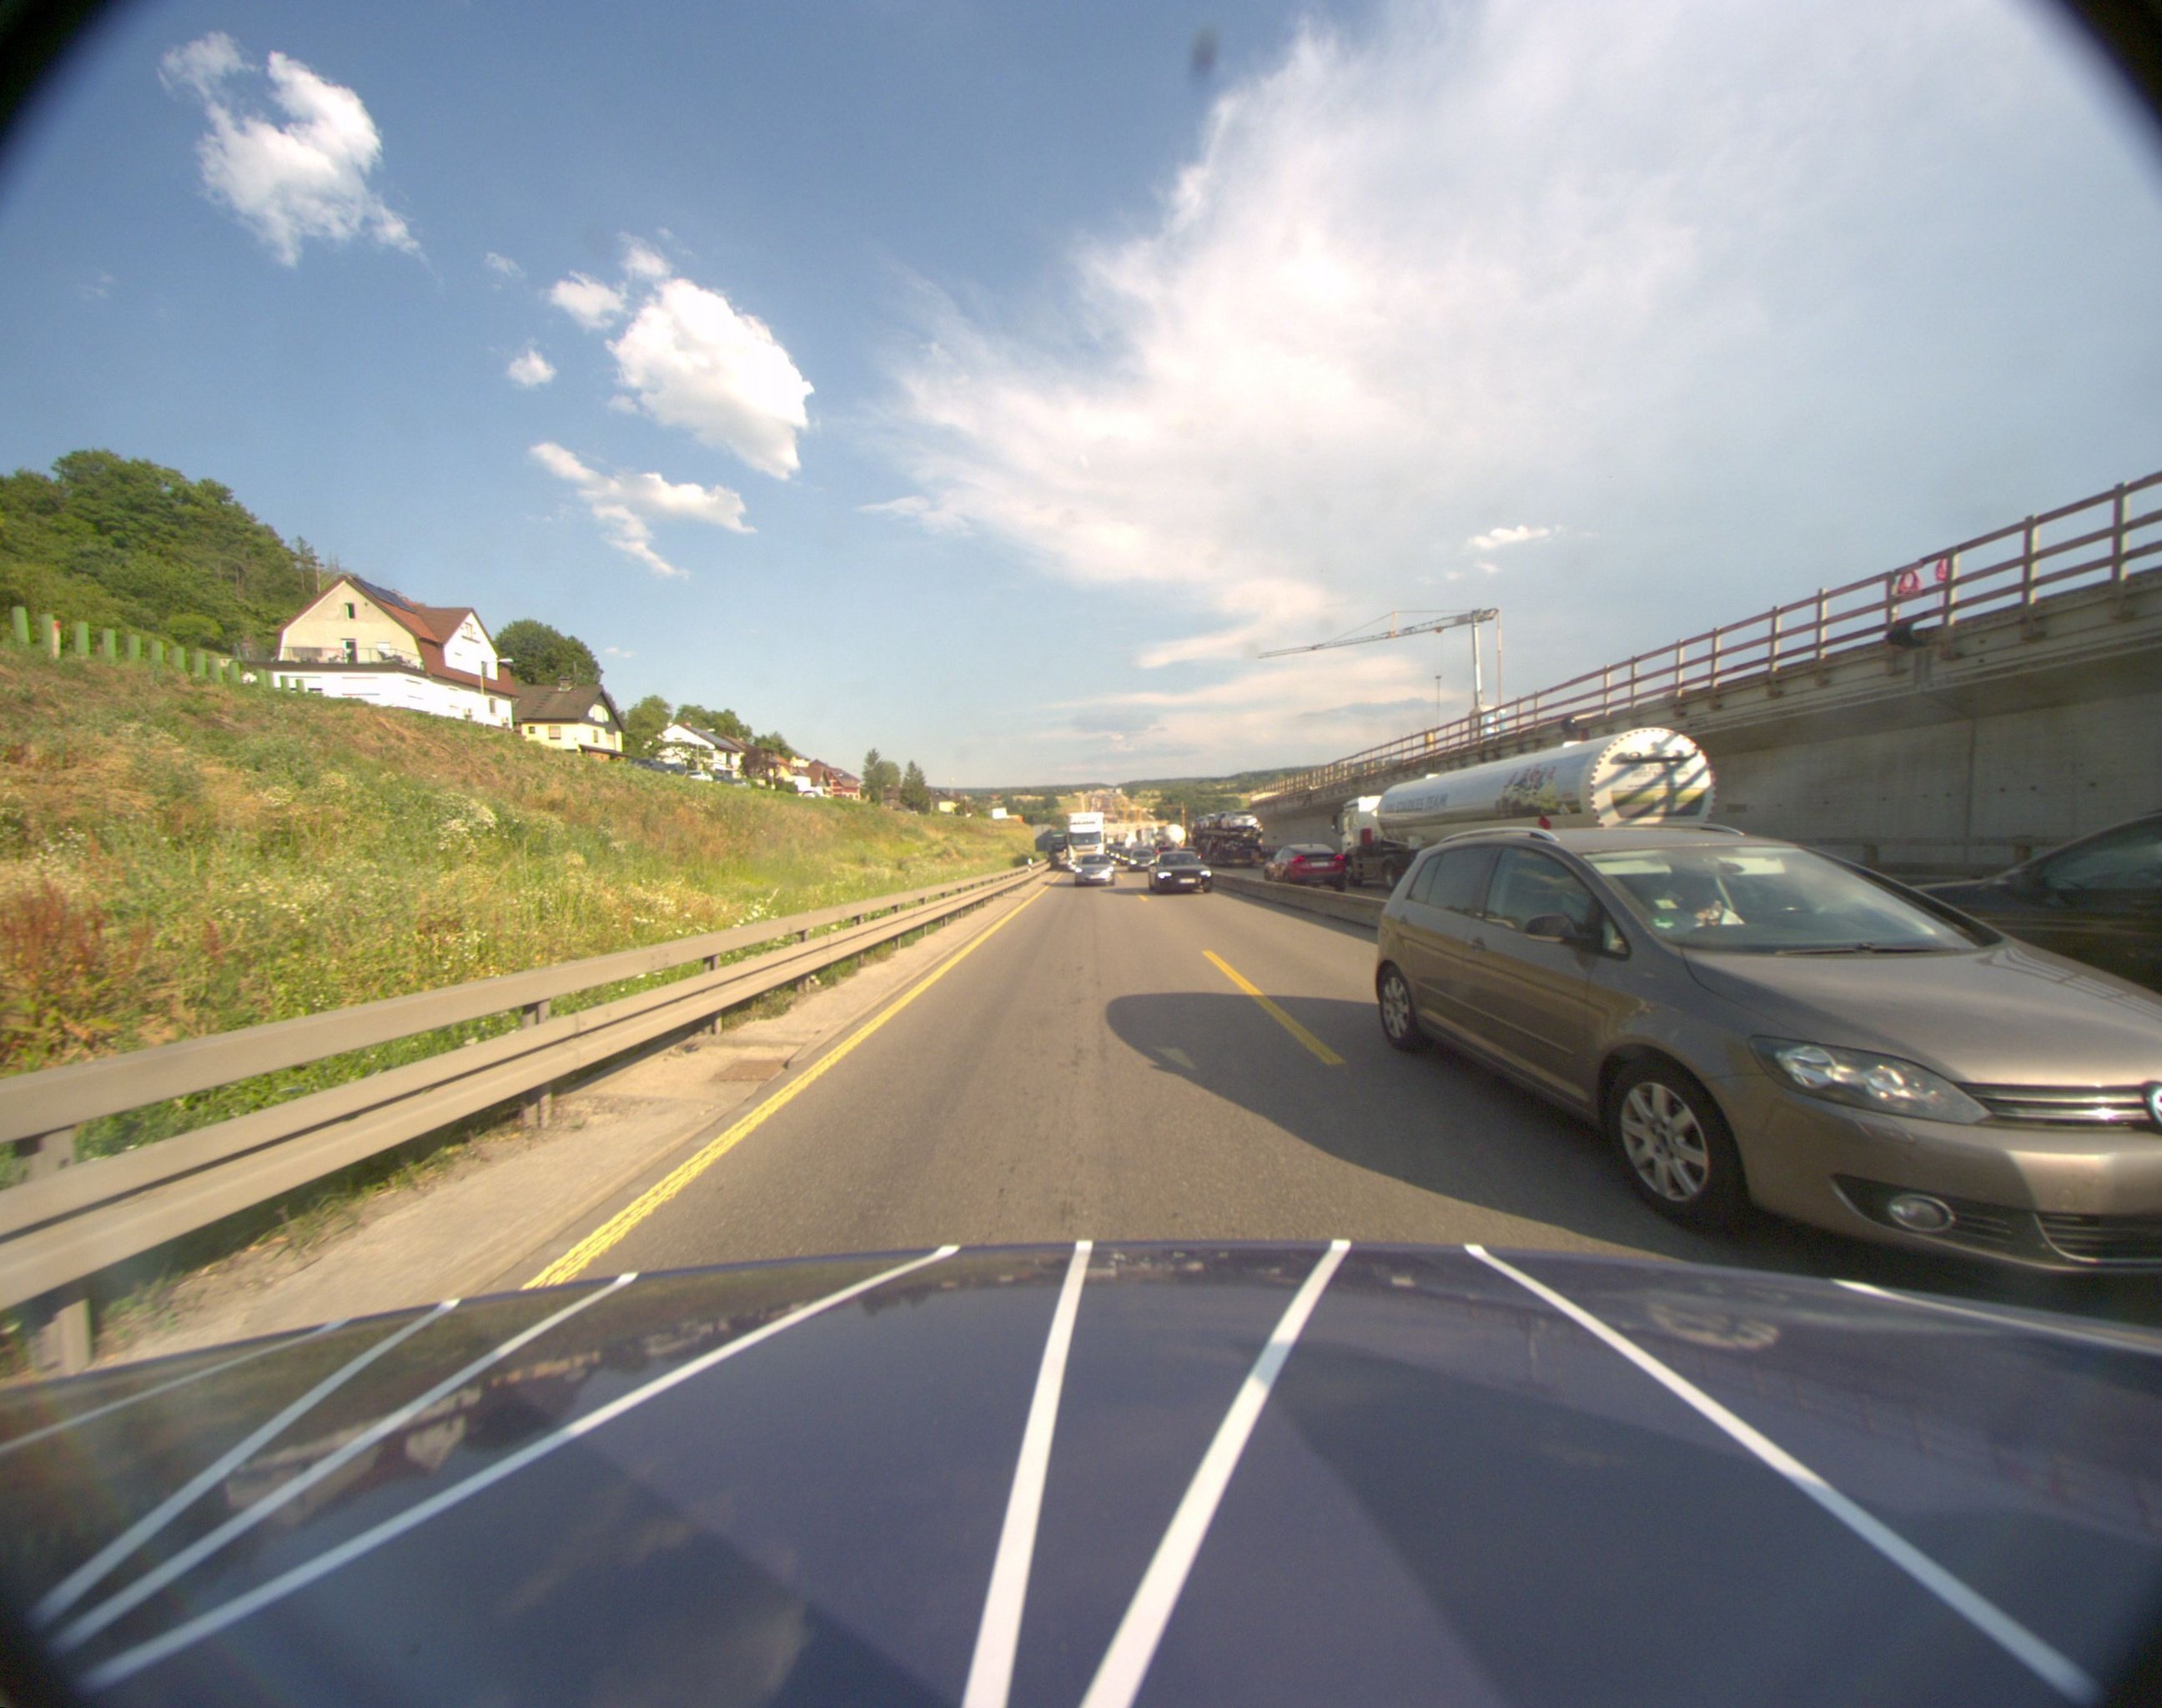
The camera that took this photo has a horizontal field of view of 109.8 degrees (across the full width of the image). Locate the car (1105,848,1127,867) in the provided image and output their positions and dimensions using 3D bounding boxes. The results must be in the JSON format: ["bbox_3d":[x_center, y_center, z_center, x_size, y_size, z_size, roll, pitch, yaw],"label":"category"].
[{"bbox_3d":[3.249,0.340,71.183,1.918,1.746,3.999,-1,0,0],"label":"car"}]

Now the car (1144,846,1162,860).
[{"bbox_3d":[8.232,-0.104,87.245,1.713,1.437,4.599,-2,1,1],"label":"car"}]

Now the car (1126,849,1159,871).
[{"bbox_3d":[3.950,0.354,49.325,1.692,1.294,3.882,-2,1,-1],"label":"car"}]

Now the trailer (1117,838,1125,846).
[{"bbox_3d":[9.059,-2.718,172.076,1.452,1.843,2.983,-2,1,1],"label":"trailer"}]

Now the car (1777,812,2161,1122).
[{"bbox_3d":[6.573,0.586,3.936,1.645,1.635,4.688,-2,1,0],"label":"car"}]

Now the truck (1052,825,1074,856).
[{"bbox_3d":[-2.475,-1.902,105.824,2.547,3.993,6.070,-2,1,1],"label":"truck"}]

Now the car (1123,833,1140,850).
[{"bbox_3d":[8.263,-2.042,124.090,1.999,2.608,7.407,-2,1,-2],"label":"car"}]

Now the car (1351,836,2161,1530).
[{"bbox_3d":[2.976,0.728,3.894,1.685,1.579,4.270,-1,2,0],"label":"car"}]

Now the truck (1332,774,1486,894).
[{"bbox_3d":[10.395,-0.632,24.705,2.555,3.390,5.530,-2,1,0],"label":"truck"}]

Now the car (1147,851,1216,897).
[{"bbox_3d":[3.465,0.636,26.904,1.873,1.411,4.348,-1,1,1],"label":"car"}]

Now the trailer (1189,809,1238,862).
[{"bbox_3d":[10.781,-1.545,62.507,2.778,4.008,7.206,-2,1,1],"label":"trailer"}]

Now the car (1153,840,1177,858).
[{"bbox_3d":[7.732,-0.465,70.612,1.761,1.569,4.338,-2,1,1],"label":"car"}]

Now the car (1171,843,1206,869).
[{"bbox_3d":[7.217,0.113,51.358,1.770,1.543,4.835,-2,1,1],"label":"car"}]

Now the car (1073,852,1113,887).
[{"bbox_3d":[0.536,0.658,34.380,1.671,1.425,3.523,-1,1,1],"label":"car"}]

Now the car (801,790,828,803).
[{"bbox_3d":[-34.115,-7.328,97.466,1.998,1.434,3.999,-2,1,1],"label":"car"}]

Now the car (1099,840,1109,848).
[{"bbox_3d":[4.926,-2.153,164.815,1.998,1.696,3.999,-2,1,0],"label":"car"}]

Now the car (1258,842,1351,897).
[{"bbox_3d":[7.132,0.453,24.690,1.730,1.548,4.297,-2,0,0],"label":"car"}]

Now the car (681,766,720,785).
[{"bbox_3d":[-31.900,-6.580,63.739,1.347,1.225,3.899,-2,1,-2],"label":"car"}]

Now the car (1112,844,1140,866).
[{"bbox_3d":[3.665,0.062,62.403,1.998,1.740,3.999,-1,1,0],"label":"car"}]

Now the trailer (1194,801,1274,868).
[{"bbox_3d":[10.656,-1.381,55.044,2.778,4.008,15.760,-2,1,1],"label":"trailer"}]

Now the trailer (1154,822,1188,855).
[{"bbox_3d":[11.318,-1.988,96.740,2.659,3.828,13.439,-2,1,0],"label":"trailer"}]

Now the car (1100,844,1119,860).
[{"bbox_3d":[3.135,-0.216,84.903,1.918,1.746,3.999,-1,0,0],"label":"car"}]

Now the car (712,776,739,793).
[{"bbox_3d":[-32.332,-6.301,69.132,1.348,1.315,3.340,-3,1,-11],"label":"car"}]

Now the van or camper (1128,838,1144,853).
[{"bbox_3d":[7.848,-1.275,109.200,1.863,2.002,5.294,-2,1,0],"label":"van or camper"}]

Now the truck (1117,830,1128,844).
[{"bbox_3d":[12.224,-5.030,224.113,2.873,4.038,7.597,-2,1,1],"label":"truck"}]

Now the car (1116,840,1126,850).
[{"bbox_3d":[7.984,-1.814,152.740,1.785,1.833,4.852,-2,1,1],"label":"car"}]

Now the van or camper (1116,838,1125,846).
[{"bbox_3d":[9.187,-2.807,176.094,1.868,1.882,5.002,-2,1,1],"label":"van or camper"}]

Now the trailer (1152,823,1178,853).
[{"bbox_3d":[11.367,-2.124,103.005,2.659,3.828,6.427,-2,1,0],"label":"trailer"}]

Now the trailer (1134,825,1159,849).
[{"bbox_3d":[11.467,-3.052,134.989,2.933,4.014,13.769,-2,1,-1],"label":"trailer"}]

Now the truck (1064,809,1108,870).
[{"bbox_3d":[0.459,-1.100,57.304,2.741,4.034,12.668,-2,1,1],"label":"truck"}]

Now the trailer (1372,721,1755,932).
[{"bbox_3d":[10.291,-0.581,18.312,2.563,3.506,10.679,-2,1,1],"label":"trailer"}]

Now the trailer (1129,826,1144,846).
[{"bbox_3d":[12.485,-4.009,172.184,2.834,4.259,8.733,-2,1,1],"label":"trailer"}]
